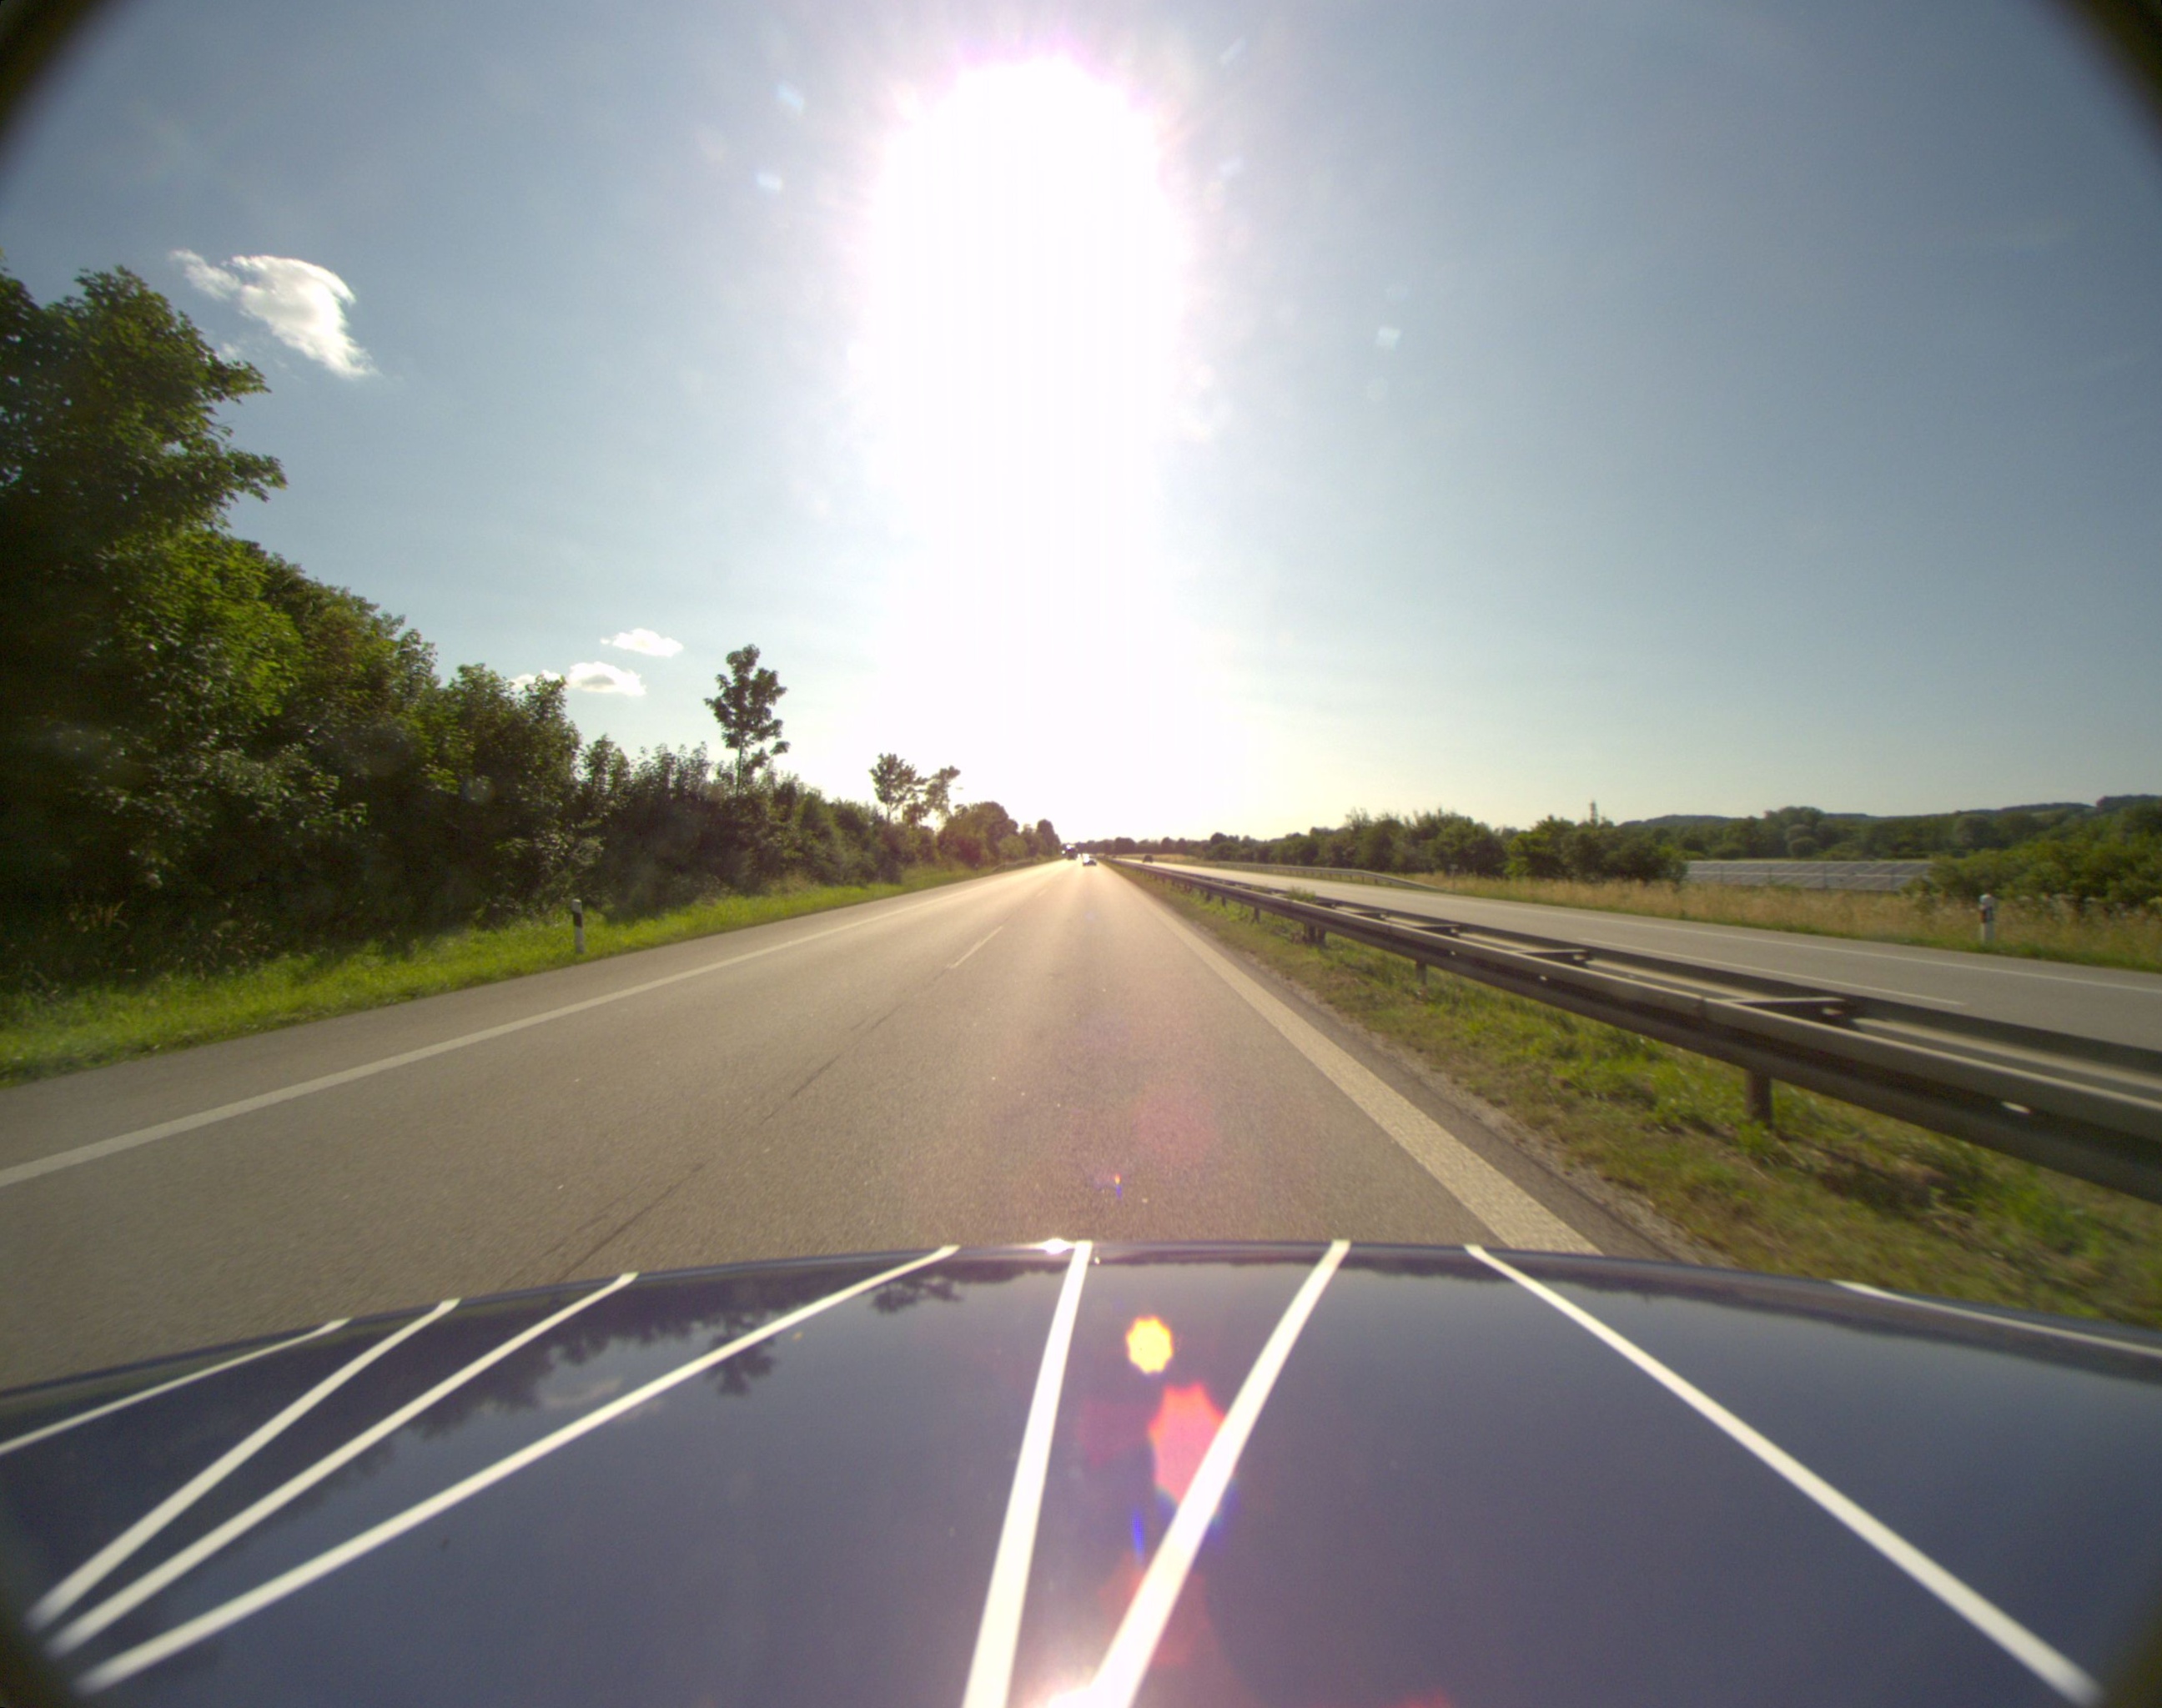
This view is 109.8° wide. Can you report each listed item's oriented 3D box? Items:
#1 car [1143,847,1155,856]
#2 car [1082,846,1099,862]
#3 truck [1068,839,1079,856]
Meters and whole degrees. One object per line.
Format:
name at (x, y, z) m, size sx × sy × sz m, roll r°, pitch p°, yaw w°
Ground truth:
car at (12.601, -0.529, 141.713) m, size 1.834 × 1.562 × 4.655 m, roll 1°, pitch 1°, yaw 1°
car at (1.237, -0.039, 98.666) m, size 1.998 × 2.002 × 4.358 m, roll -2°, pitch 1°, yaw 1°
truck at (-2.048, -1.813, 209.276) m, size 2.759 × 4.242 × 8.492 m, roll -2°, pitch 1°, yaw 0°
